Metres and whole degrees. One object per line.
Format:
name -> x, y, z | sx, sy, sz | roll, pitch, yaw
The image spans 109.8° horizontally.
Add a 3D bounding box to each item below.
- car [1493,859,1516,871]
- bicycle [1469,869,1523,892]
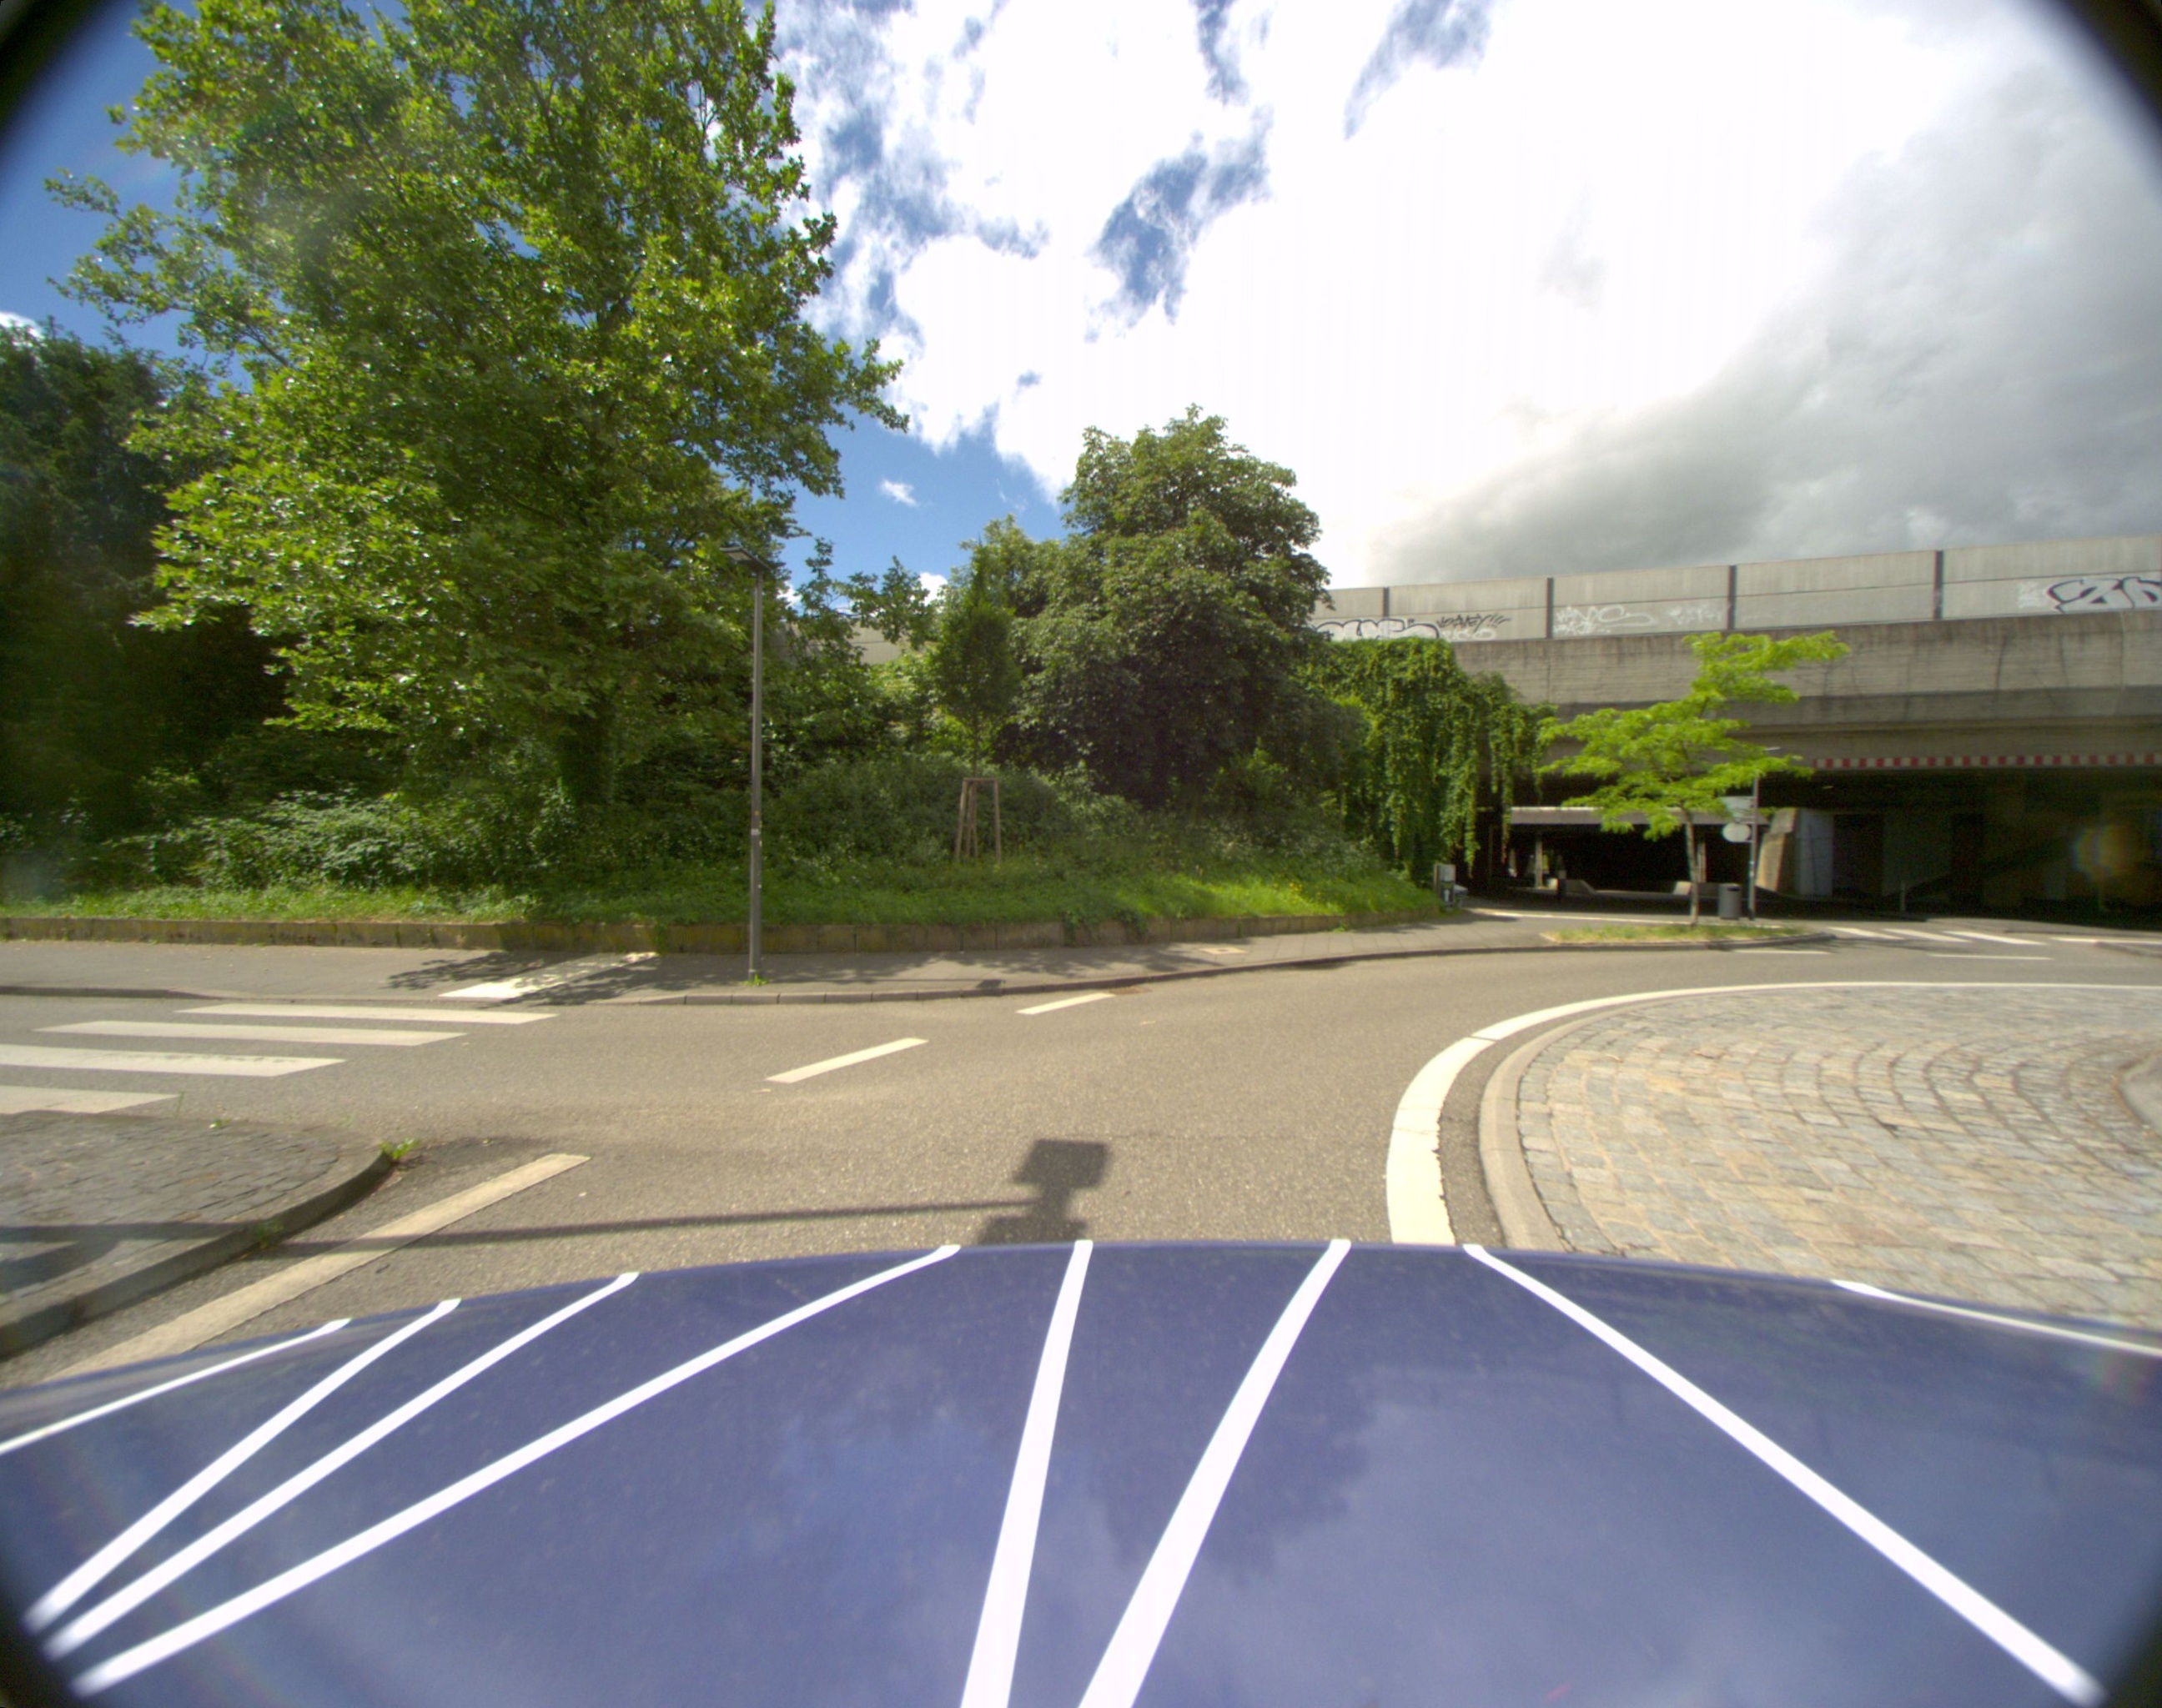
car -> 52.997, 1.360, 95.186 | 1.673, 1.439, 3.858 | 2, 0, 17
bicycle -> 18.062, 1.134, 33.108 | 1.947, 0.899, 0.507 | 2, 1, 16
